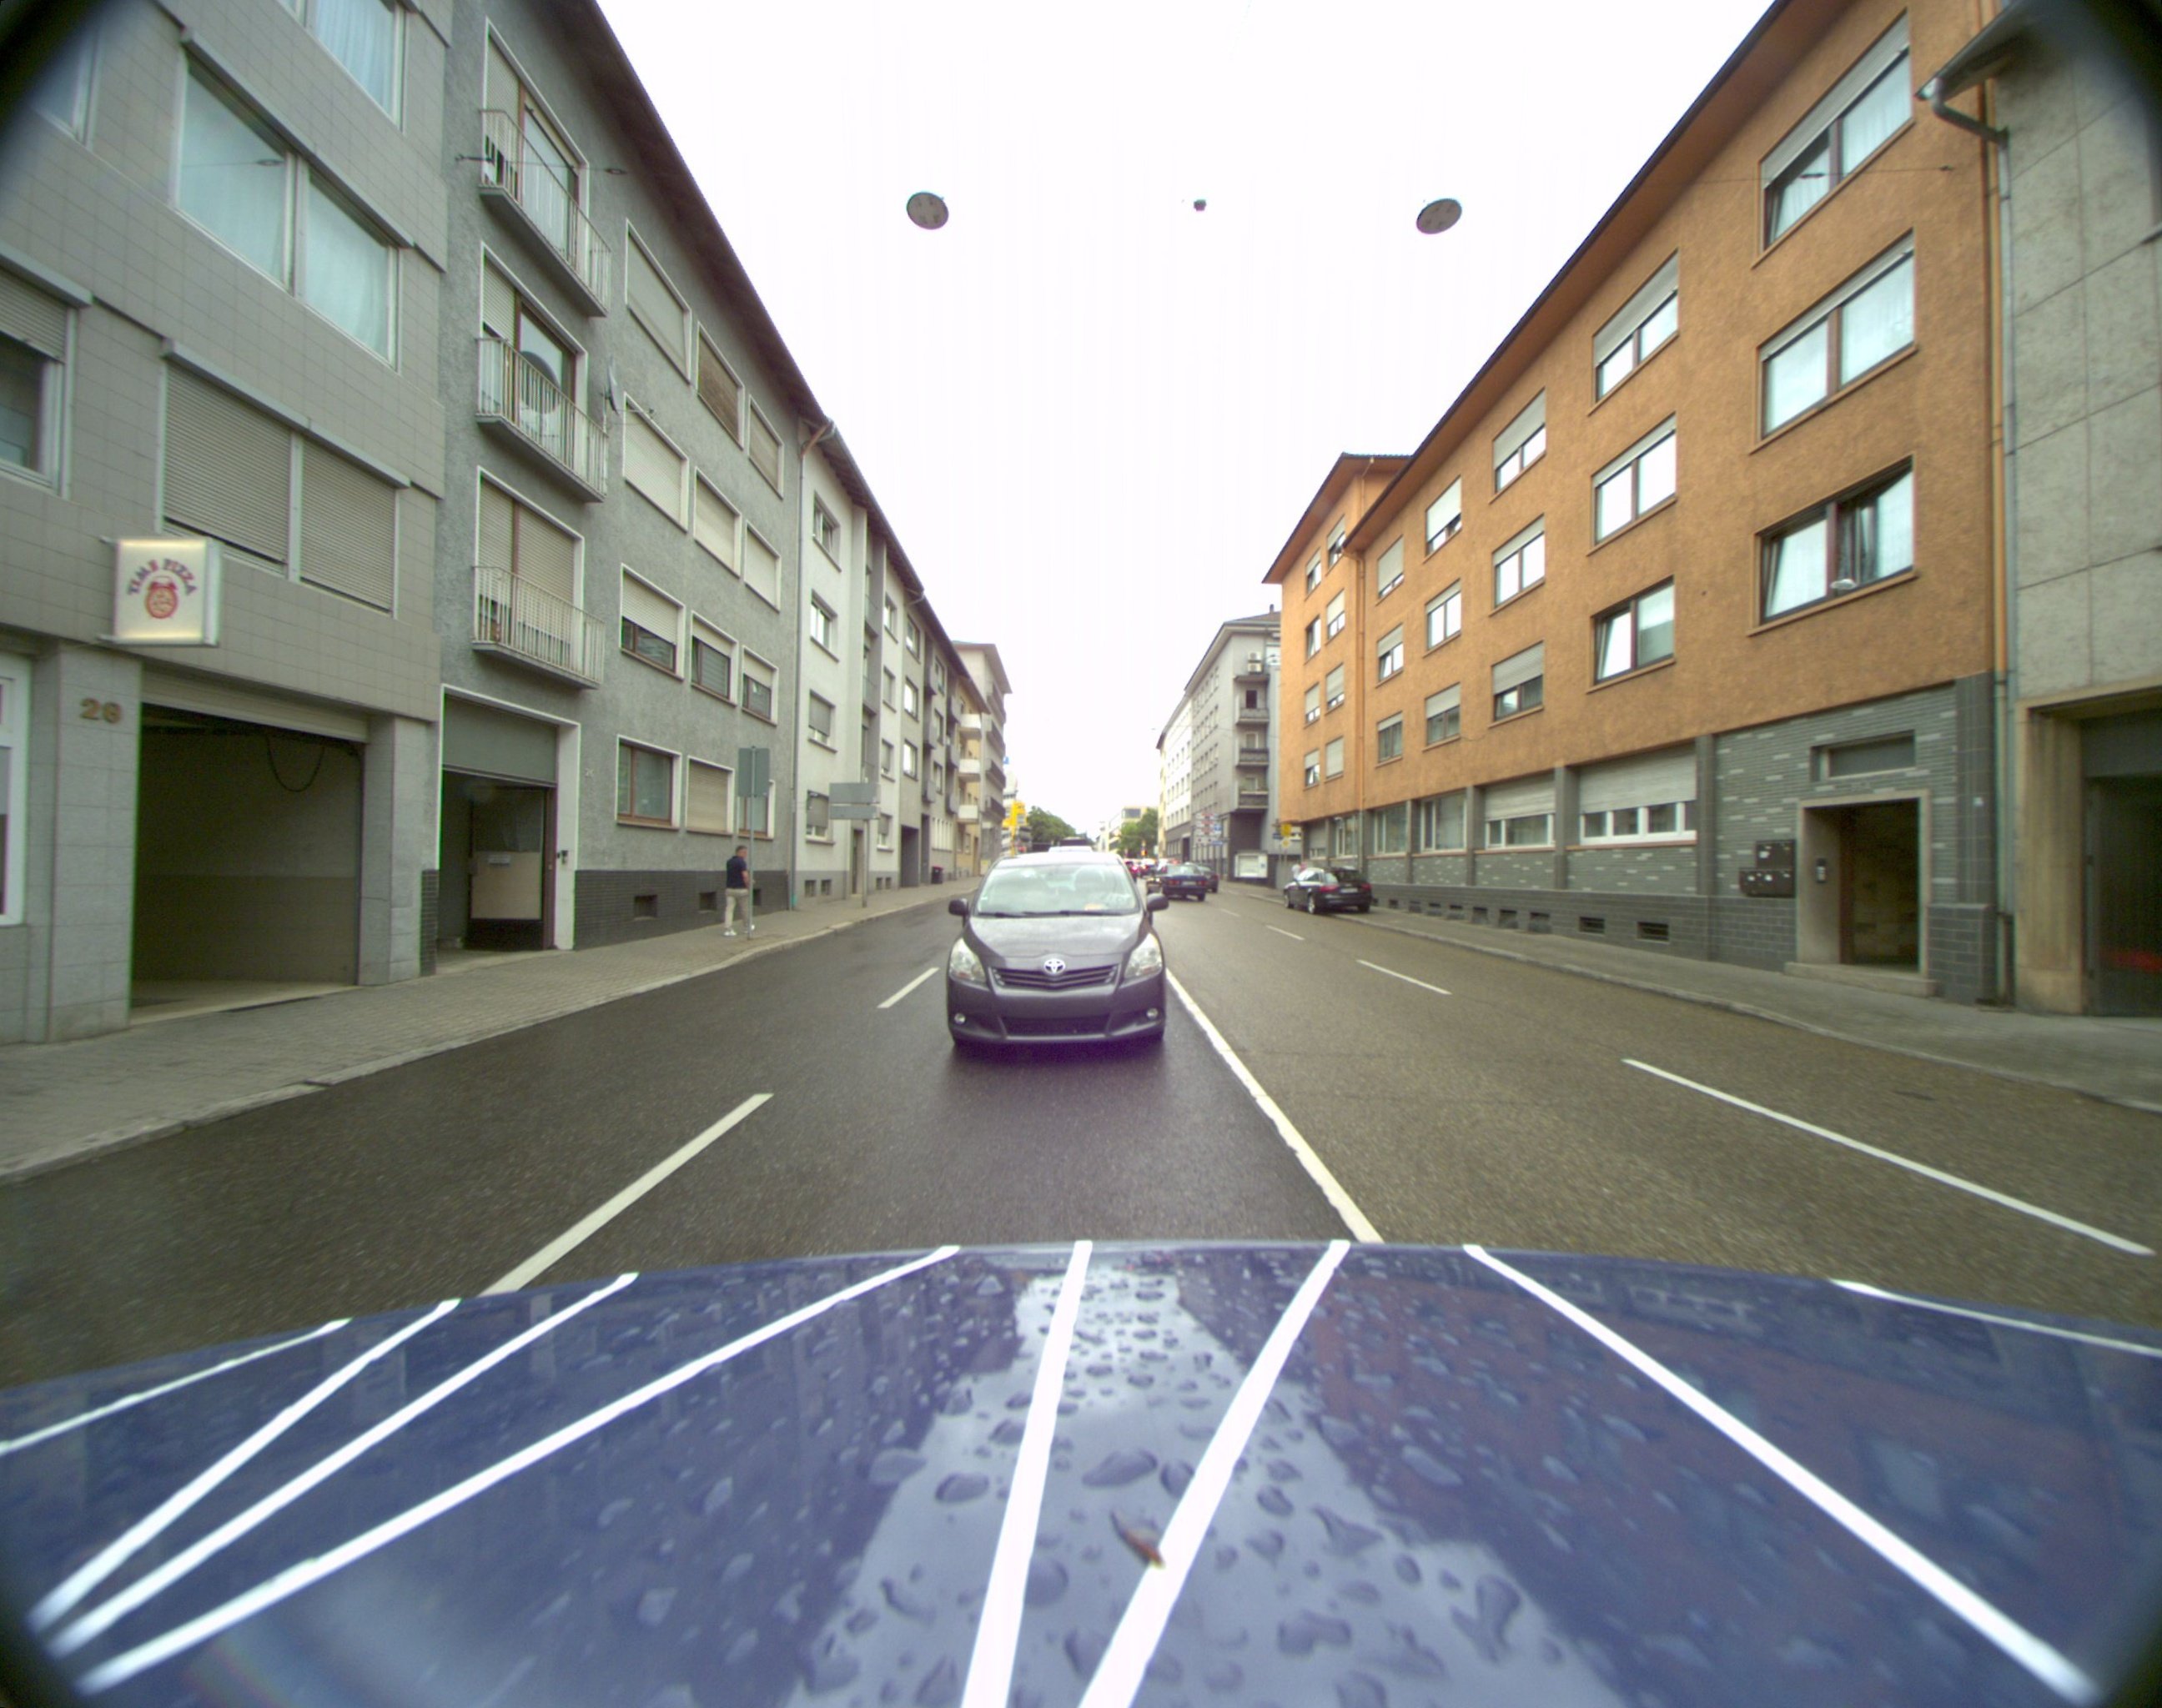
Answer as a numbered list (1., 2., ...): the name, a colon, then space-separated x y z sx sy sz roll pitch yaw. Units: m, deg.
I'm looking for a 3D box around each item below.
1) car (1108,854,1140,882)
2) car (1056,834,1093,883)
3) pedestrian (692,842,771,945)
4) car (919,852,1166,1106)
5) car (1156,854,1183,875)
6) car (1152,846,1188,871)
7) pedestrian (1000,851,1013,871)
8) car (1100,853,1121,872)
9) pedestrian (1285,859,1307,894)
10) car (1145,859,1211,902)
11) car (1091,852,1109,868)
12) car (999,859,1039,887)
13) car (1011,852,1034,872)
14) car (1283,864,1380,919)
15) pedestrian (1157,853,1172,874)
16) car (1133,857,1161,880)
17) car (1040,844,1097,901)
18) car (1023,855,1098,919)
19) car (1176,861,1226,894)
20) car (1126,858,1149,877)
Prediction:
1. car: 2.686 0.835 48.493 1.699 1.571 4.216 2 1 -1
2. car: -0.344 0.221 44.966 2.033 2.731 4.368 -2 1 1
3. pedestrian: -6.727 0.736 14.684 0.871 1.855 1.119 5 1 1
4. car: -0.244 0.890 7.510 1.699 1.712 4.217 -2 1 1
5. car: 7.786 0.912 67.080 1.856 1.712 4.217 -2 1 1
6. car: 5.814 0.294 50.130 1.727 1.464 4.373 2 0 -1
7. pedestrian: -6.753 0.637 68.777 1.119 1.741 0.961 1 1 -5
8. car: 2.481 0.709 64.690 1.699 1.362 4.217 3 1 1
9. pedestrian: 10.441 1.094 36.923 0.768 1.630 1.023 -2 1 5
10. car: 3.688 0.975 29.498 1.603 1.362 4.360 3 1 -5
11. car: 2.038 0.616 81.621 1.622 1.530 4.216 2 1 -1
12. car: -3.478 1.037 43.246 1.856 1.369 4.217 -2 1 1
13. car: -5.160 0.657 67.205 1.856 1.663 4.215 -2 1 -4
14. car: 8.040 1.138 24.789 1.799 1.466 4.217 -2 1 1
15. pedestrian: 8.337 0.976 75.640 1.309 2.002 1.258 -2 1 1
16. car: 5.138 1.114 59.690 1.699 1.530 4.435 5 1 0
17. car: -0.399 0.589 27.923 1.856 1.882 4.217 -2 1 1
18. car: -0.506 0.856 21.418 1.856 1.524 3.792 -2 1 1
19. car: 6.007 1.134 38.425 1.699 1.362 4.365 3 1 -1
20. car: 5.419 1.266 72.984 1.856 1.651 4.610 -2 1 1
